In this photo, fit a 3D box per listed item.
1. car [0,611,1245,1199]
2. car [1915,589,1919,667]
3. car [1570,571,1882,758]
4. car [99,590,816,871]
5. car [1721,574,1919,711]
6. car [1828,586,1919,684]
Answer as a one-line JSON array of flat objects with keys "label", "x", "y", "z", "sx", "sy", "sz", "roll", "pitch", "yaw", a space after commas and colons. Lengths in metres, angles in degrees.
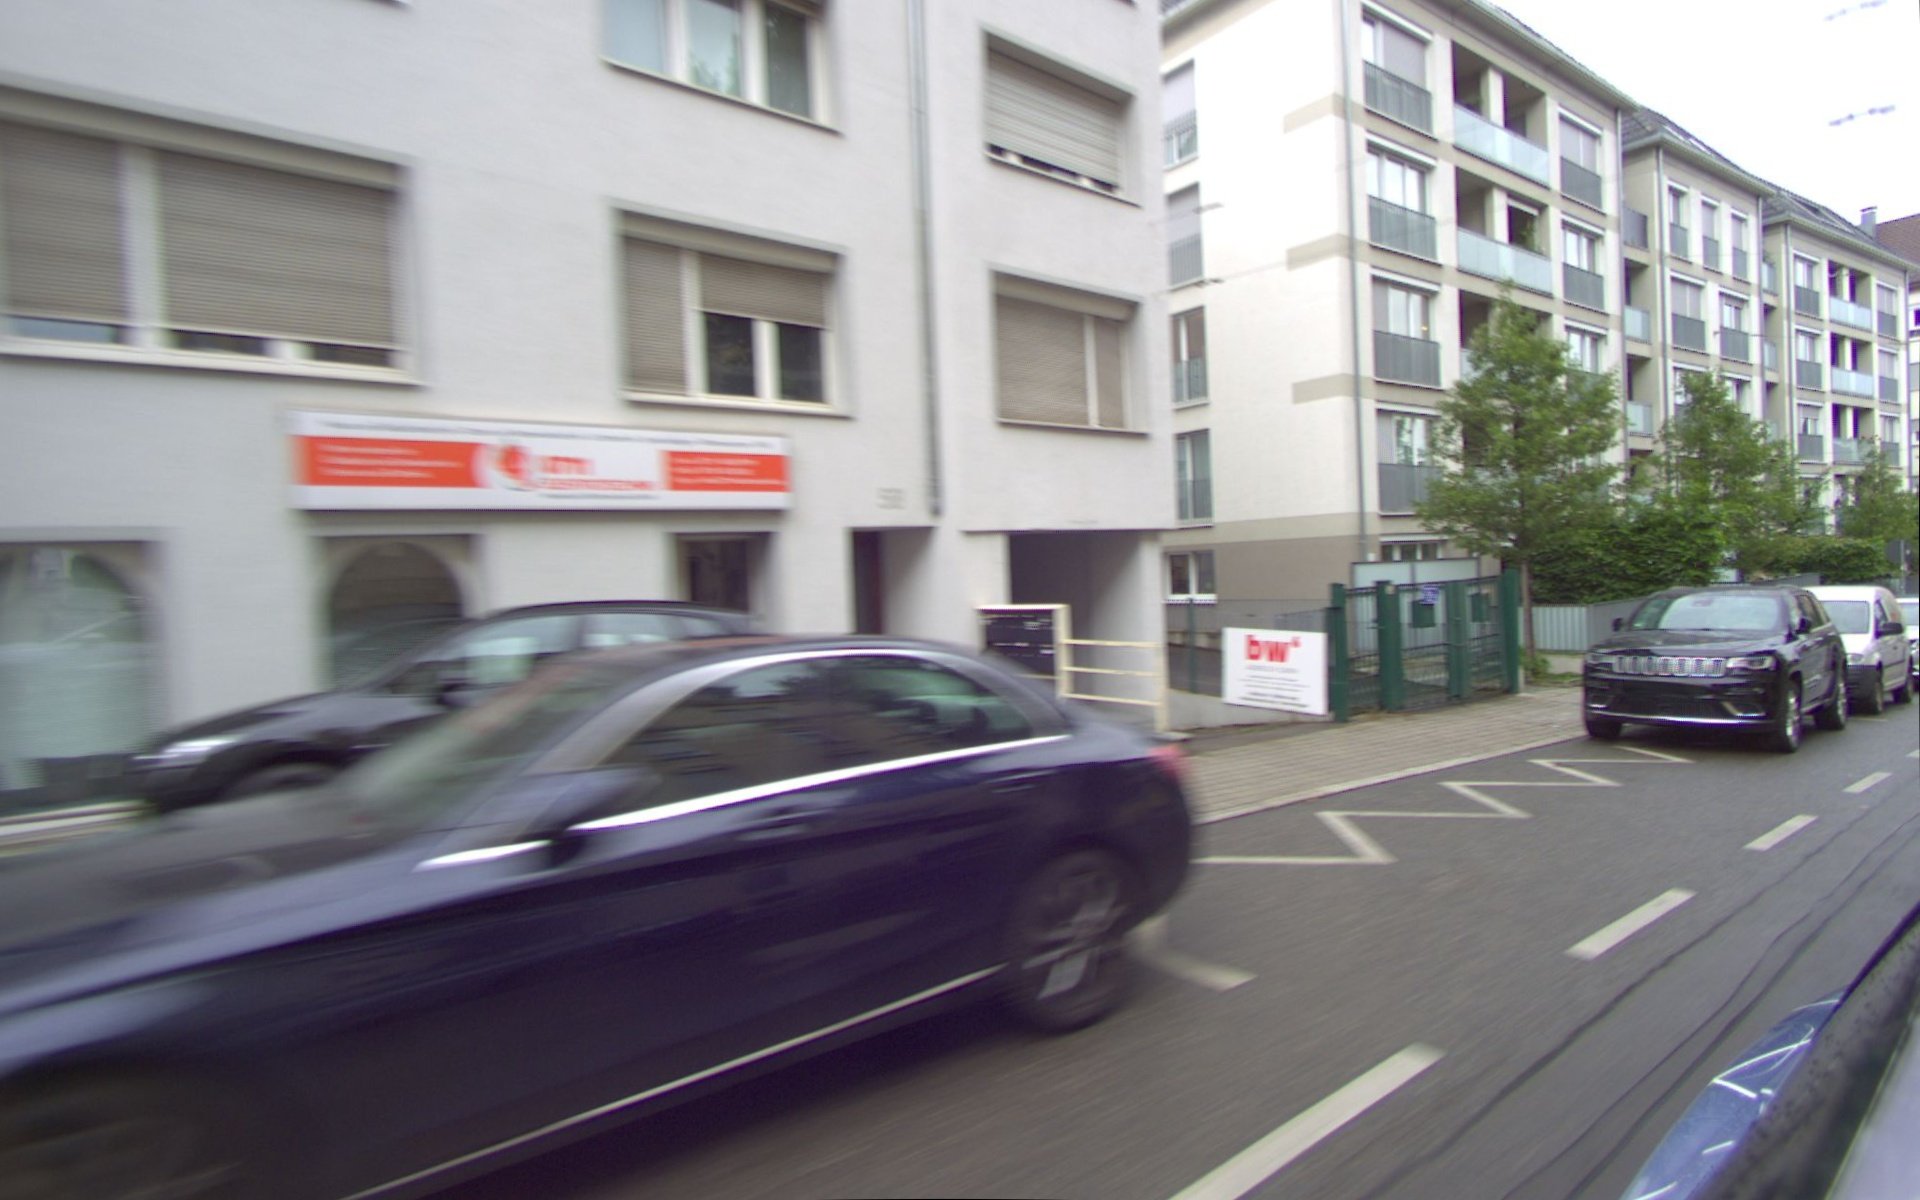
[{"label": "car", "x": -1.131, "y": 0.804, "z": 3.476, "sx": 4.528, "sy": 1.456, "sz": 1.797, "roll": 0, "pitch": -2, "yaw": -40}, {"label": "car", "x": 22.729, "y": 0.560, "z": 22.294, "sx": 4.580, "sy": 1.648, "sz": 1.836, "roll": -1, "pitch": -1, "yaw": -39}, {"label": "car", "x": 9.265, "y": 0.619, "z": 12.089, "sx": 4.736, "sy": 1.818, "sz": 1.946, "roll": -1, "pitch": -1, "yaw": -40}, {"label": "car", "x": -3.272, "y": 0.702, "z": 7.139, "sx": 4.074, "sy": 1.445, "sz": 1.818, "roll": 0, "pitch": -3, "yaw": -35}, {"label": "car", "x": 13.355, "y": 0.562, "z": 15.450, "sx": 4.391, "sy": 1.818, "sz": 1.782, "roll": 0, "pitch": -1, "yaw": -39}, {"label": "car", "x": 18.182, "y": 0.587, "z": 19.085, "sx": 4.601, "sy": 1.677, "sz": 1.836, "roll": -1, "pitch": 0, "yaw": -38}]
